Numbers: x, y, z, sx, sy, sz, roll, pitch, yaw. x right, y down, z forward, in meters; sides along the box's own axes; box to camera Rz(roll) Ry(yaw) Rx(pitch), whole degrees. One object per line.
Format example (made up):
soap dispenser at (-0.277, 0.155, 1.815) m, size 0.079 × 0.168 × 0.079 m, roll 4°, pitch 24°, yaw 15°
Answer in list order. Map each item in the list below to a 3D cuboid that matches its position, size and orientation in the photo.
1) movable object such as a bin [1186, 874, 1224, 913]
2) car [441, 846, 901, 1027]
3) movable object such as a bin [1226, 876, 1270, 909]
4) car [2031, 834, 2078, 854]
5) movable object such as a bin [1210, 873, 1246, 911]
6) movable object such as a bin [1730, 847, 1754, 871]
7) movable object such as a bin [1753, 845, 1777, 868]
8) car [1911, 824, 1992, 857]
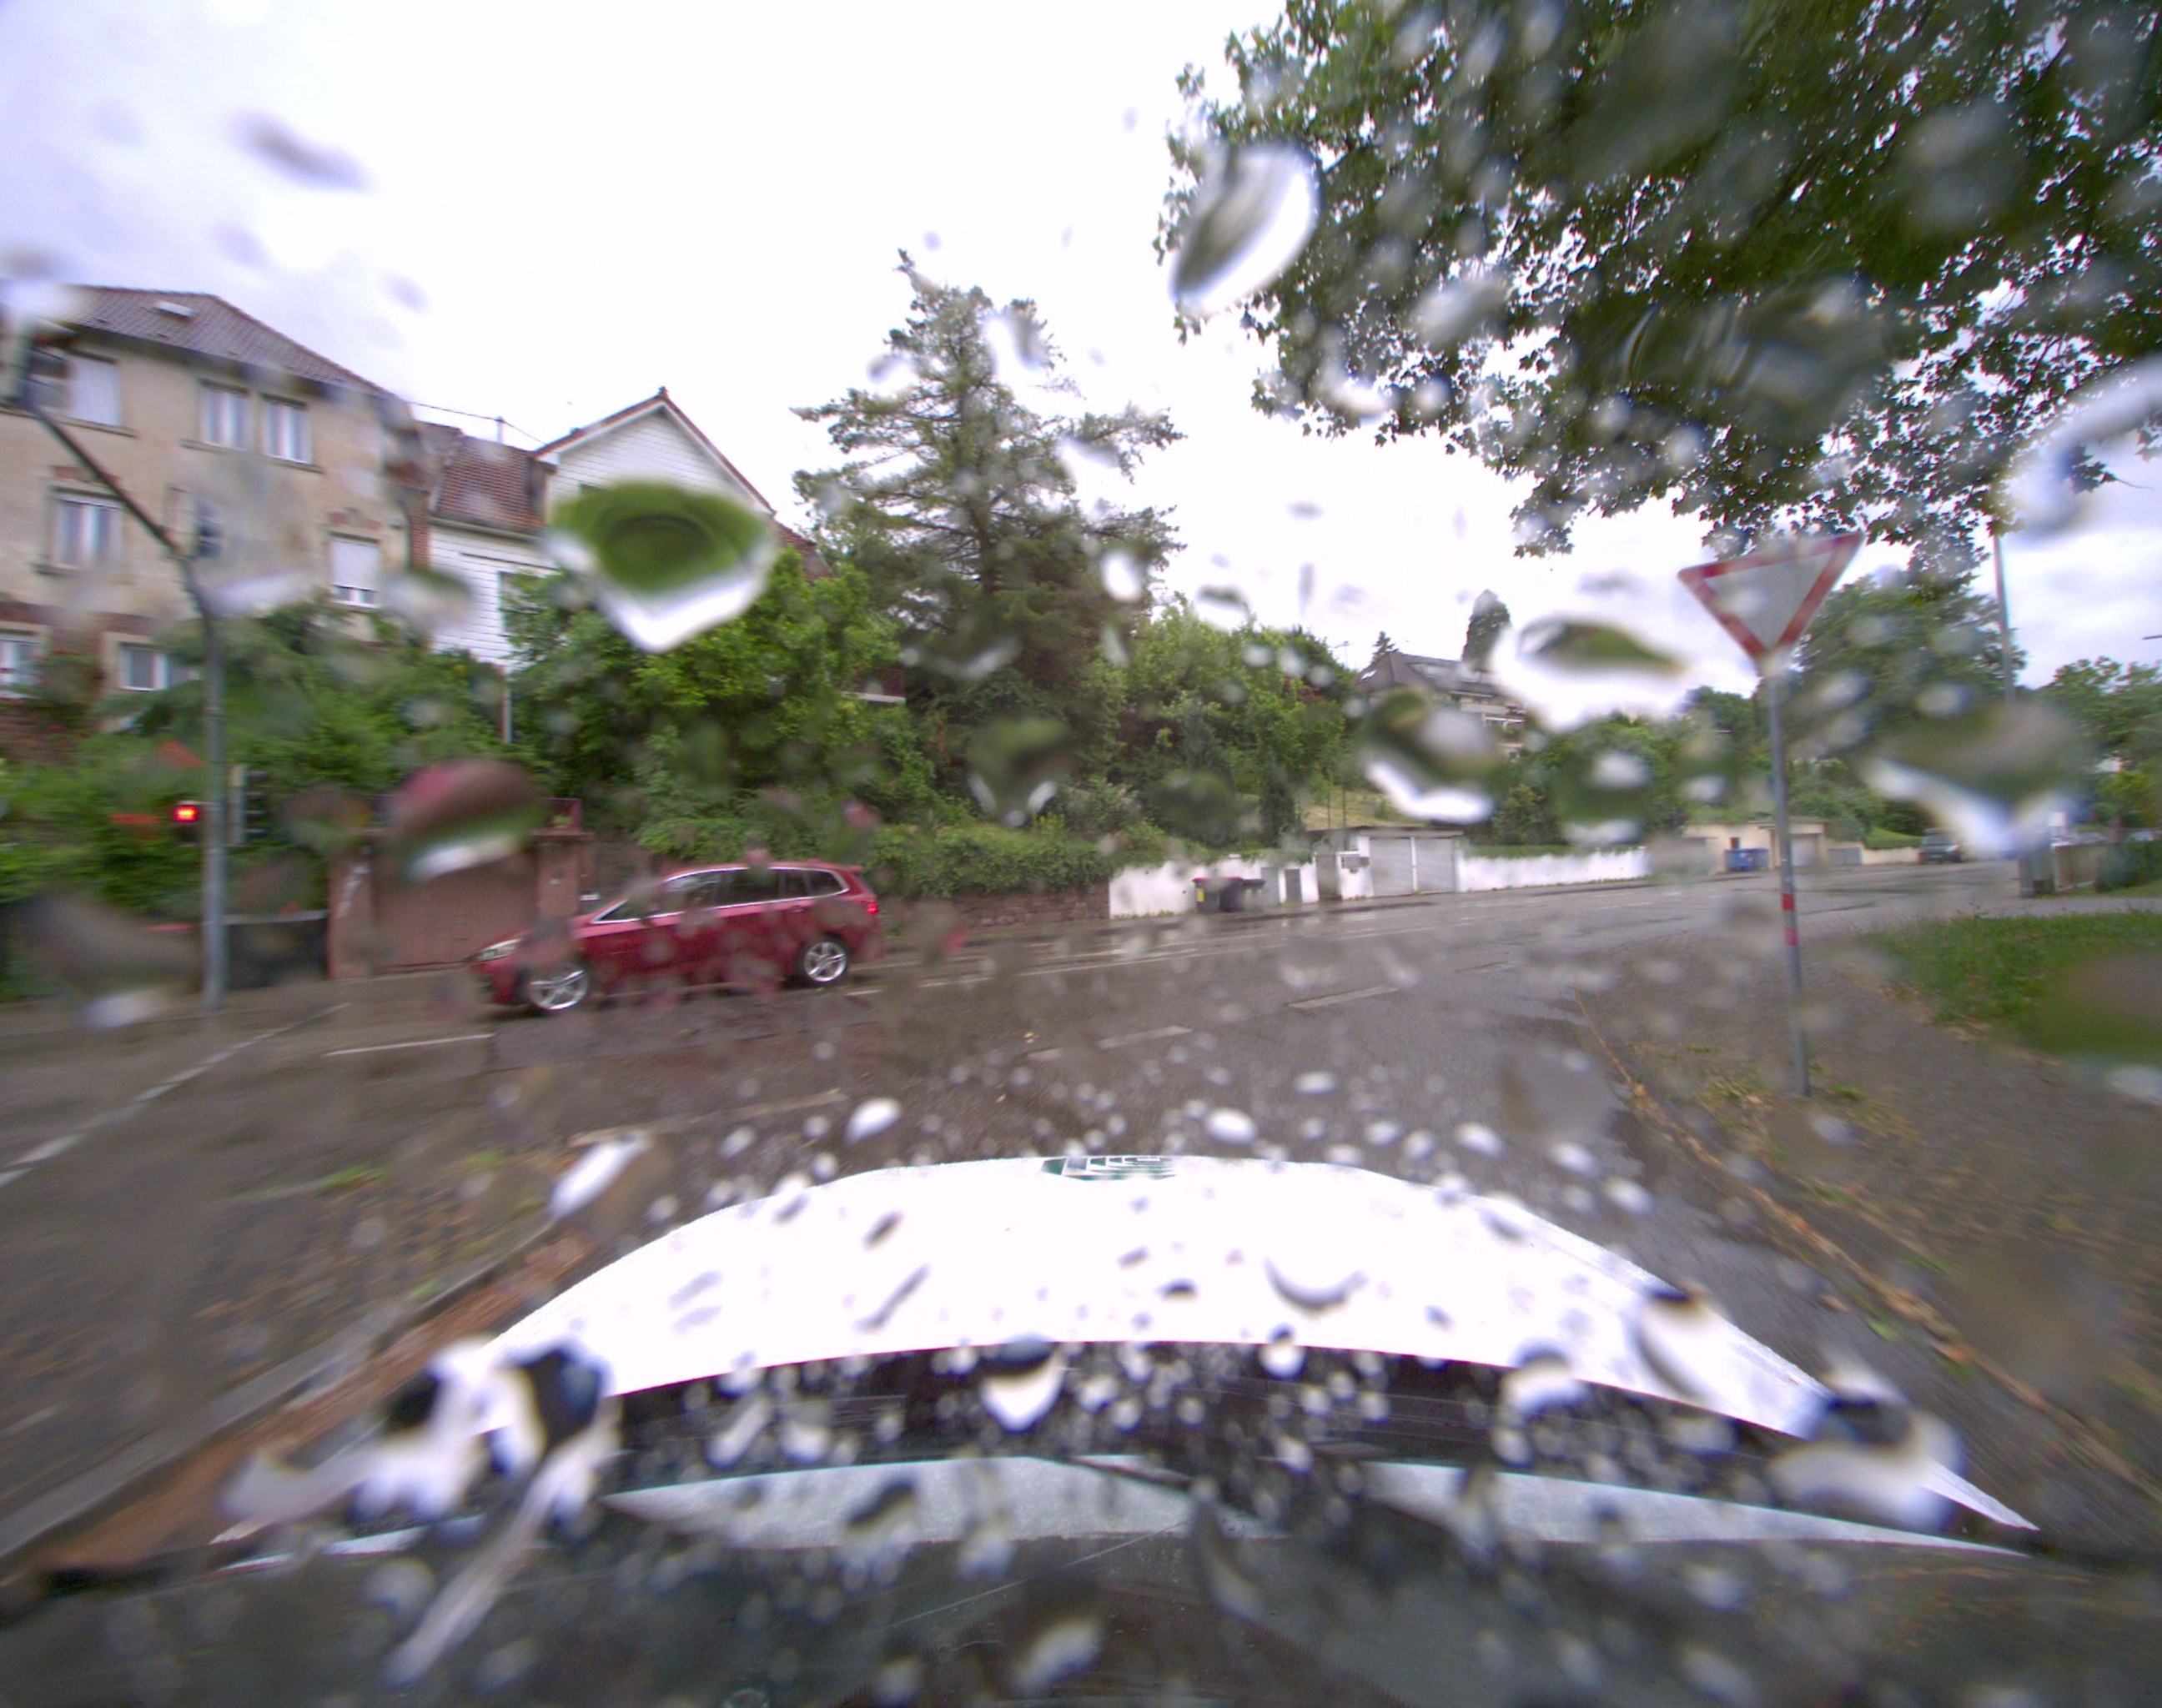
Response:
movable object such as a bin at (3.598, 1.150, 23.635) m, size 0.757 × 1.060 × 0.681 m, roll -2°, pitch -2°, yaw -34°
car at (-4.732, 0.834, 9.898) m, size 4.601 × 1.601 × 1.756 m, roll -3°, pitch -2°, yaw -34°
movable object such as a bin at (5.072, 1.162, 24.727) m, size 0.958 × 0.916 × 0.843 m, roll -2°, pitch -2°, yaw -35°
car at (75.506, -0.760, 63.143) m, size 3.692 × 1.345 × 1.699 m, roll -3°, pitch -2°, yaw -31°
movable object such as a bin at (4.331, 1.124, 23.982) m, size 0.797 × 1.060 × 0.629 m, roll -2°, pitch -2°, yaw -34°
movable object such as a bin at (38.779, 0.296, 47.760) m, size 0.835 × 1.336 × 0.707 m, roll -3°, pitch -2°, yaw -25°
movable object such as a bin at (40.847, 0.143, 48.640) m, size 0.835 × 1.336 × 0.707 m, roll -3°, pitch -2°, yaw -25°
car at (56.104, -0.875, 52.485) m, size 5.194 × 1.753 × 2.282 m, roll -3°, pitch -2°, yaw -29°
